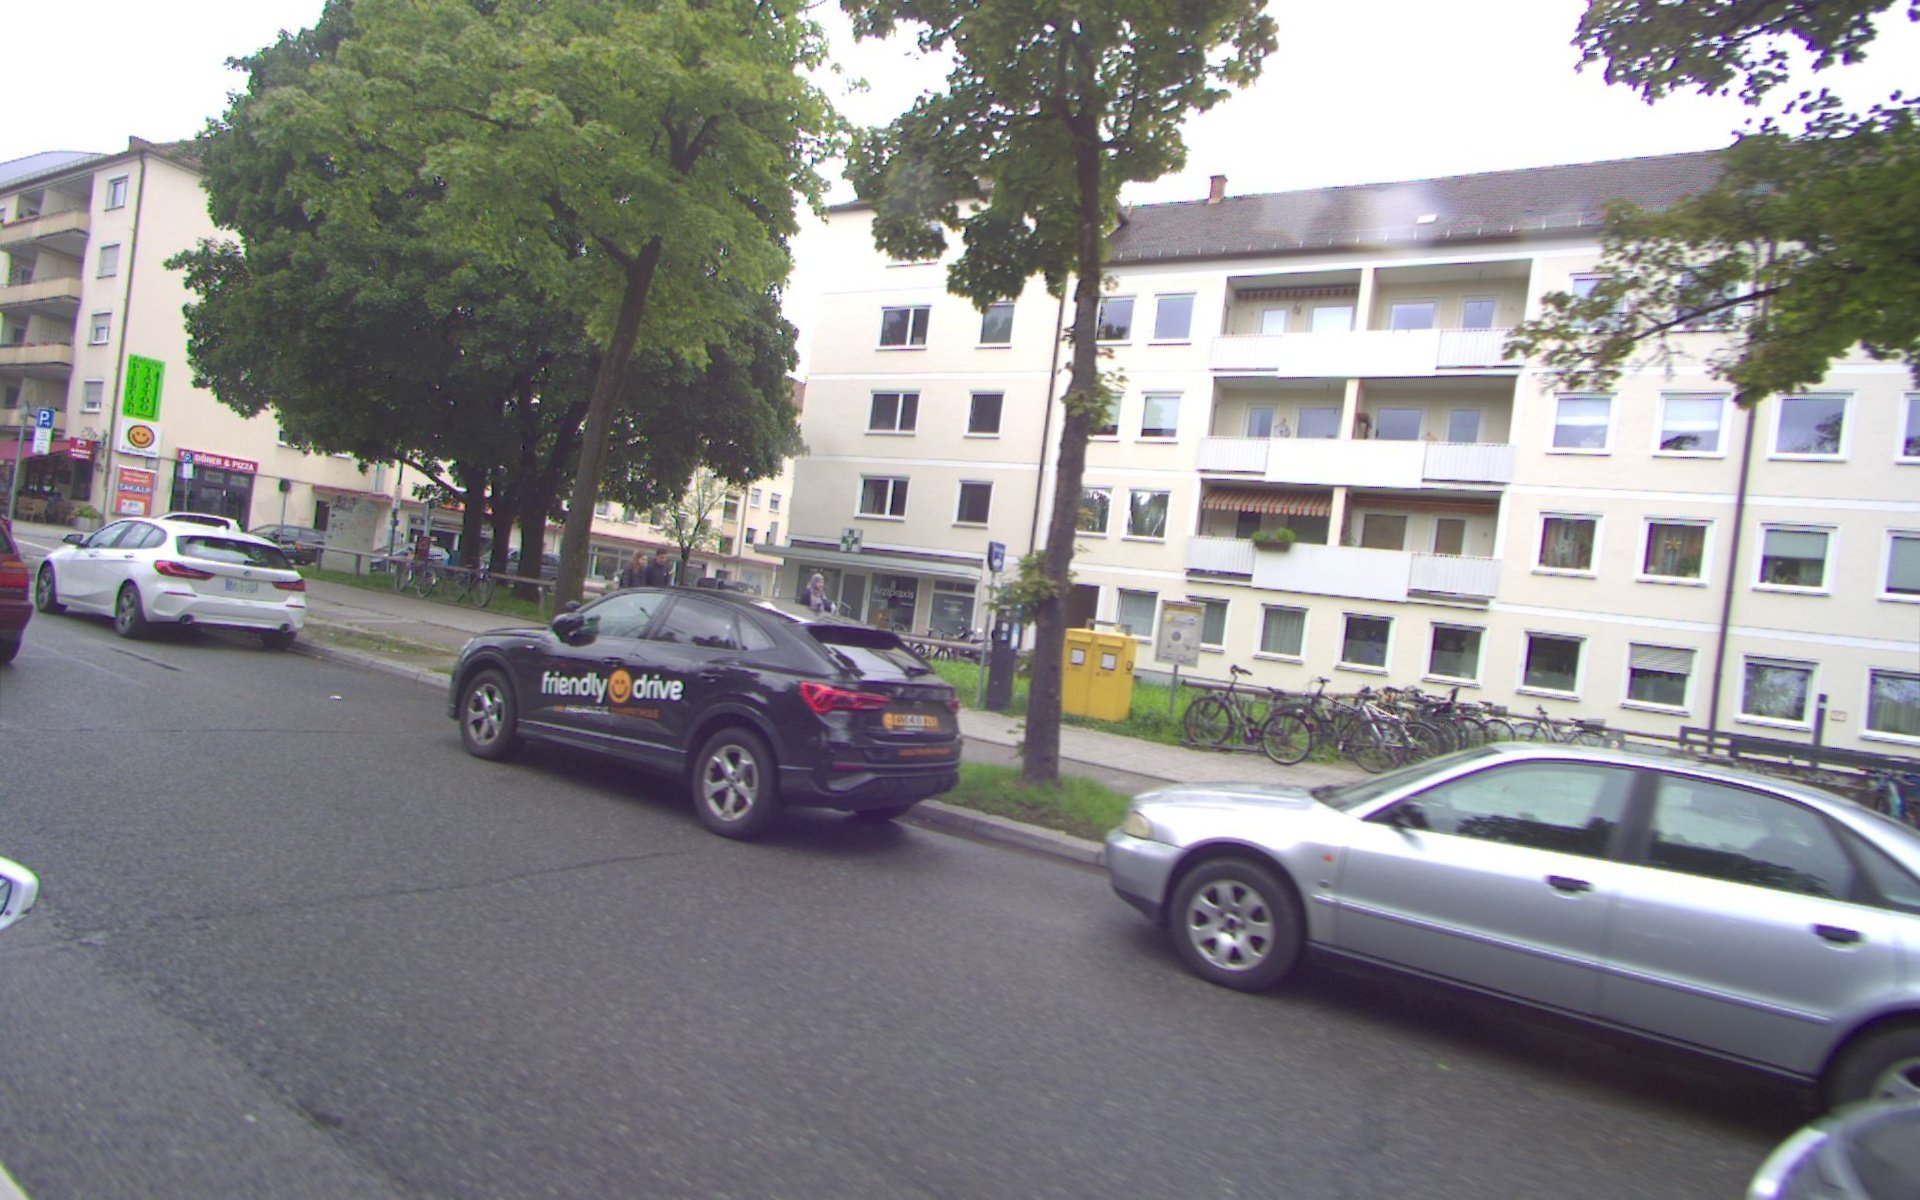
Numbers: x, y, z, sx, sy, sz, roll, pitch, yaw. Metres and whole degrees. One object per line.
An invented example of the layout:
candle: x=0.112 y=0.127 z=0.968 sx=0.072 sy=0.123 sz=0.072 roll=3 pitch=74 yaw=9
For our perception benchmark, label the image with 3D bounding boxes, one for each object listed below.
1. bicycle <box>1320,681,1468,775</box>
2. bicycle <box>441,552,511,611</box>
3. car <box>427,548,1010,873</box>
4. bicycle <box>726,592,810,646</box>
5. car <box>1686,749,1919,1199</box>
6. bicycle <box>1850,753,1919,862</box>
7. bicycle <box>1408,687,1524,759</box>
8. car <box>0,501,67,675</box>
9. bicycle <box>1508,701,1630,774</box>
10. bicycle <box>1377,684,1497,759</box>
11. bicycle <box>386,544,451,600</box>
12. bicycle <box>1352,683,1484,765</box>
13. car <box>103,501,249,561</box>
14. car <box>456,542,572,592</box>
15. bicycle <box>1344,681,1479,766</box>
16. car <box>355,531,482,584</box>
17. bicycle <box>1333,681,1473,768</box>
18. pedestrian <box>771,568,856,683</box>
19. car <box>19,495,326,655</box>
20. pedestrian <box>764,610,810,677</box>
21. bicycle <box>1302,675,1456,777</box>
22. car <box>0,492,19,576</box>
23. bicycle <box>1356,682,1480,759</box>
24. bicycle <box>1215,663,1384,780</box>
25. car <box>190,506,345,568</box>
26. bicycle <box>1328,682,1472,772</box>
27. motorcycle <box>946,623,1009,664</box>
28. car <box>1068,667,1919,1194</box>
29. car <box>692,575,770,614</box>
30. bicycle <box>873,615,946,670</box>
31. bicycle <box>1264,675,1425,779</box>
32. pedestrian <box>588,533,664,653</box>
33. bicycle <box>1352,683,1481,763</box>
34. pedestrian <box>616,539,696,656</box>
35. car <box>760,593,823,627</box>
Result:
bicycle: x=6.382 y=1.857 z=14.847 sx=1.852 sy=1.041 sz=0.431 roll=8 pitch=1 yaw=33
bicycle: x=-10.867 y=-0.419 z=22.544 sx=1.853 sy=1.116 sz=0.382 roll=7 pitch=-1 yaw=33
car: x=-1.951 y=0.673 z=7.671 sx=4.204 sy=1.550 sz=1.720 roll=7 pitch=-2 yaw=32
bicycle: x=-4.160 y=0.437 z=21.949 sx=0.549 sy=0.950 sz=1.880 roll=7 pitch=-2 yaw=33
car: x=3.362 y=1.255 z=0.739 sx=4.368 sy=1.449 sz=1.735 roll=7 pitch=-2 yaw=32
bicycle: x=11.062 y=2.416 z=11.789 sx=0.425 sy=1.041 sz=1.881 roll=7 pitch=0 yaw=28
bicycle: x=9.697 y=2.339 z=19.335 sx=1.852 sy=1.041 sz=0.431 roll=8 pitch=1 yaw=33
car: x=-9.722 y=-0.351 z=8.814 sx=3.853 sy=1.399 sz=1.686 roll=7 pitch=-2 yaw=31
bicycle: x=11.478 y=2.572 z=19.012 sx=1.852 sy=1.041 sz=0.431 roll=8 pitch=1 yaw=33
bicycle: x=8.780 y=2.218 z=18.556 sx=1.852 sy=1.041 sz=0.431 roll=8 pitch=1 yaw=33
bicycle: x=-12.785 y=-0.670 z=23.730 sx=1.823 sy=1.118 sz=0.389 roll=7 pitch=-1 yaw=33
bicycle: x=7.615 y=2.042 z=16.768 sx=1.852 sy=1.041 sz=0.431 roll=8 pitch=1 yaw=33
car: x=-26.515 y=-2.308 z=34.091 sx=1.845 sy=1.434 sz=3.543 roll=8 pitch=0 yaw=42
car: x=-21.106 y=-1.528 z=47.804 sx=1.840 sy=1.794 sz=4.742 roll=7 pitch=0 yaw=30
bicycle: x=7.330 y=1.981 z=16.373 sx=1.852 sy=1.041 sz=0.431 roll=8 pitch=1 yaw=33
car: x=-23.283 y=-1.786 z=43.433 sx=1.839 sy=1.681 sz=4.401 roll=7 pitch=0 yaw=29
bicycle: x=6.903 y=1.919 z=15.737 sx=1.852 sy=1.041 sz=0.431 roll=8 pitch=1 yaw=33
pedestrian: x=-2.326 y=0.416 z=16.033 sx=0.821 sy=1.702 sz=0.839 roll=7 pitch=1 yaw=30
car: x=-10.378 y=-0.356 z=13.200 sx=4.068 sy=1.481 sz=1.687 roll=7 pitch=-3 yaw=31
pedestrian: x=-2.659 y=0.669 z=15.472 sx=0.428 sy=0.961 sz=0.408 roll=7 pitch=1 yaw=31
bicycle: x=5.915 y=1.751 z=14.250 sx=1.852 sy=1.115 sz=0.431 roll=8 pitch=1 yaw=33
car: x=-19.115 y=-1.444 z=18.501 sx=3.613 sy=1.482 sz=1.621 roll=7 pitch=-2 yaw=32
bicycle: x=8.122 y=2.119 z=17.879 sx=1.852 sy=1.041 sz=0.431 roll=8 pitch=1 yaw=33
bicycle: x=4.285 y=1.510 z=12.782 sx=1.852 sy=1.148 sz=0.431 roll=8 pitch=2 yaw=33
car: x=-26.253 y=-2.343 z=38.319 sx=1.839 sy=1.681 sz=4.402 roll=7 pitch=0 yaw=27
bicycle: x=6.677 y=1.899 z=15.309 sx=1.852 sy=1.041 sz=0.431 roll=8 pitch=1 yaw=33
motorcycle: x=0.542 y=1.387 z=32.225 sx=1.875 sy=1.035 sz=0.605 roll=7 pitch=-1 yaw=32
car: x=2.842 y=1.363 z=4.894 sx=4.171 sy=1.402 sz=1.640 roll=8 pitch=-2 yaw=29
car: x=-13.880 y=-0.283 z=61.176 sx=1.839 sy=1.679 sz=4.750 roll=8 pitch=-2 yaw=27
bicycle: x=-1.046 y=0.922 z=21.360 sx=0.426 sy=0.985 sz=1.880 roll=7 pitch=-2 yaw=33
bicycle: x=5.101 y=1.660 z=13.406 sx=1.852 sy=1.041 sz=0.431 roll=8 pitch=1 yaw=33
pedestrian: x=-5.637 y=-0.112 z=16.990 sx=0.887 sy=1.913 sz=0.588 roll=7 pitch=1 yaw=31
bicycle: x=7.799 y=2.081 z=17.233 sx=1.852 sy=1.041 sz=0.431 roll=8 pitch=1 yaw=33
pedestrian: x=-5.309 y=-0.030 z=17.592 sx=0.904 sy=1.913 sz=0.730 roll=7 pitch=1 yaw=31
car: x=-11.096 y=0.694 z=66.548 sx=1.839 sy=1.679 sz=4.088 roll=8 pitch=-2 yaw=27
